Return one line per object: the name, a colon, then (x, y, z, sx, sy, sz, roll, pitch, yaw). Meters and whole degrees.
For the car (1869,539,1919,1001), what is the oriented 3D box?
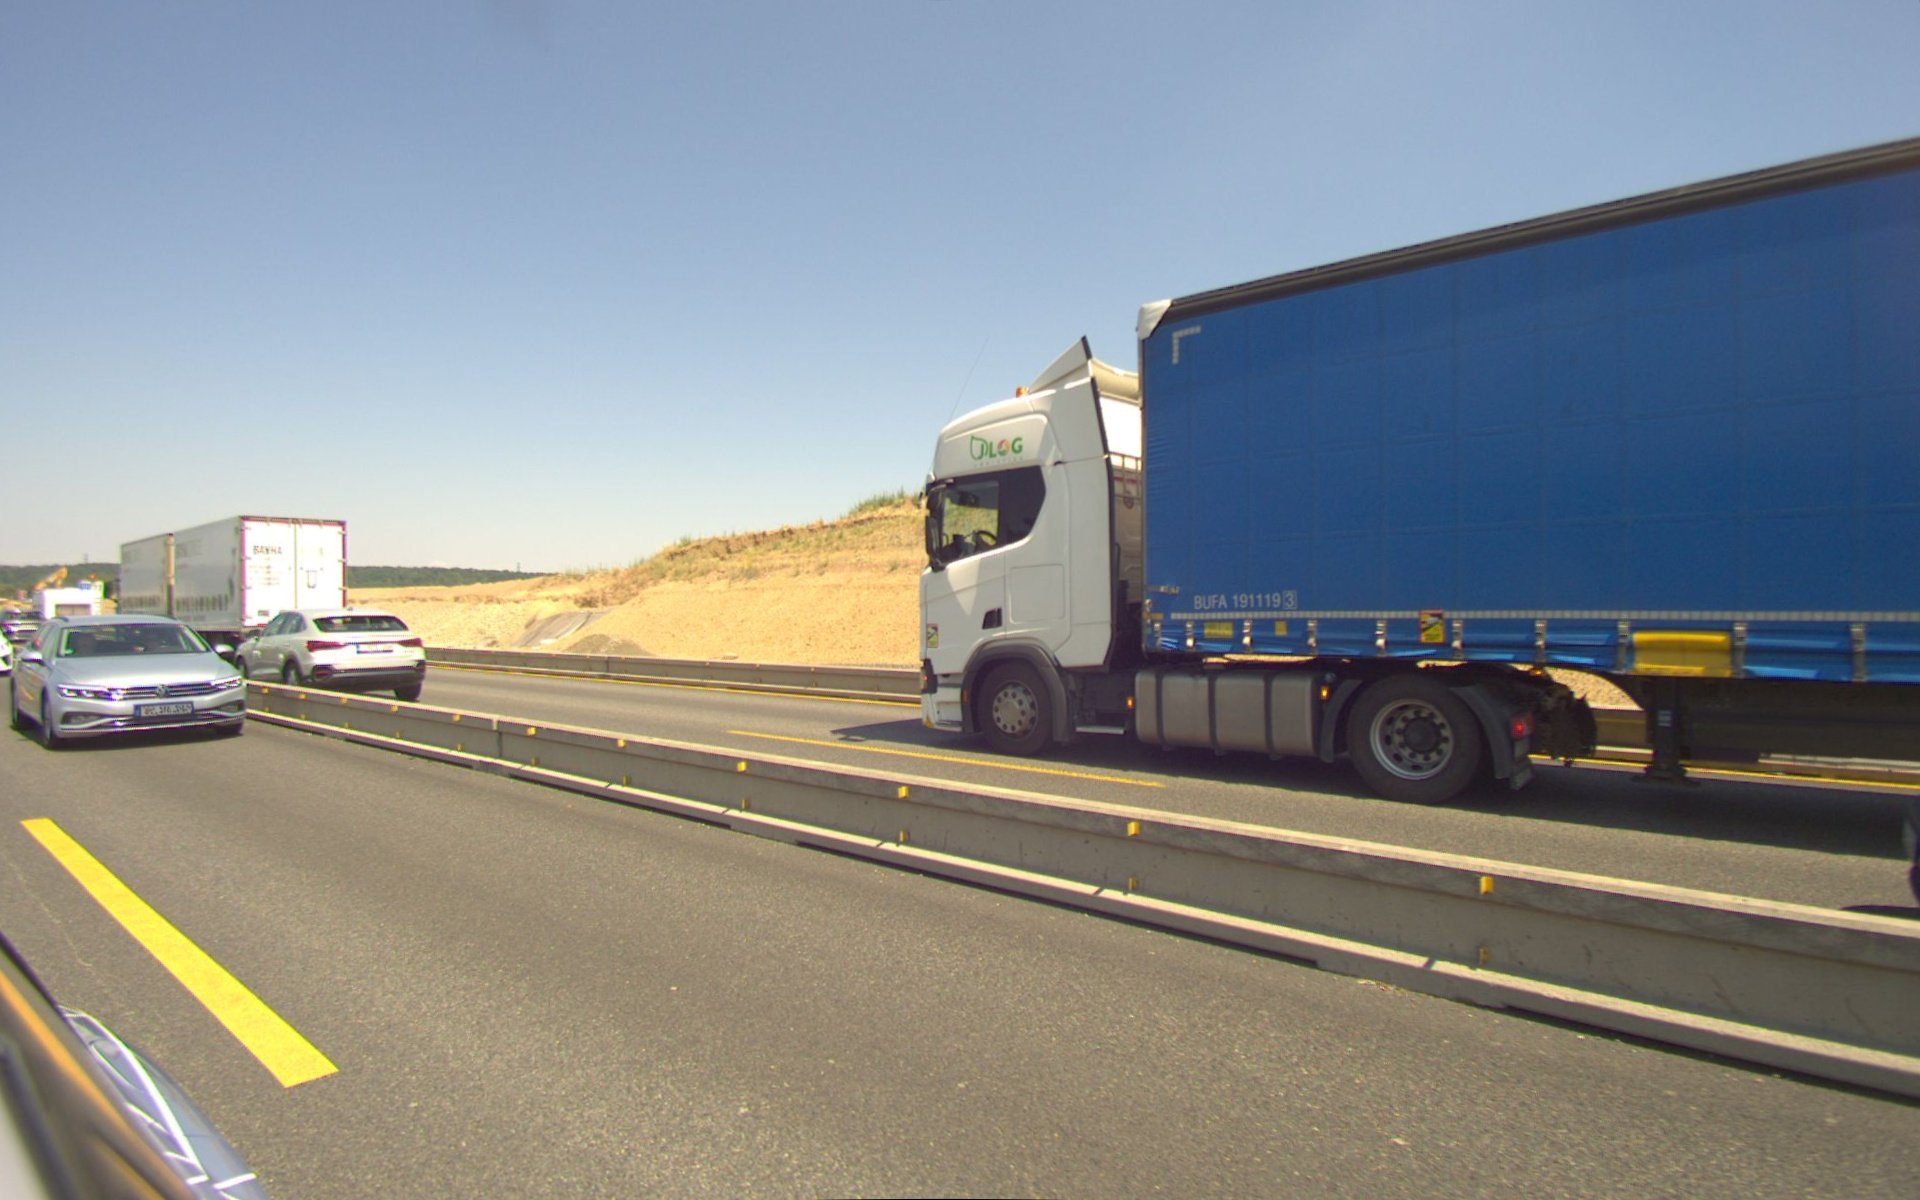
car: (5.376, 0.573, 2.812, 4.136, 1.567, 1.757, -1, -3, 40)

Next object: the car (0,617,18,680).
car: (-24.154, 1.161, 24.328, 4.029, 1.408, 1.851, 0, 1, 42)

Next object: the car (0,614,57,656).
car: (-39.353, 1.420, 42.404, 4.591, 1.625, 1.671, 0, 1, 41)

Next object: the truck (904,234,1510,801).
truck: (2.217, -0.570, 9.946, 5.146, 4.084, 2.565, -1, 0, 40)

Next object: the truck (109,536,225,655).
truck: (-30.415, -0.091, 38.731, 5.910, 4.230, 2.464, -1, -2, 42)

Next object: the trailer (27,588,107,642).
trailer: (-48.171, 0.823, 54.535, 6.752, 2.707, 2.287, -1, -2, 41)

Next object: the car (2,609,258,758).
car: (-10.357, 0.905, 12.530, 4.098, 1.519, 1.781, -1, 0, 41)

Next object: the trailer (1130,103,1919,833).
trailer: (7.609, -0.754, 5.147, 13.989, 3.968, 2.625, -1, 0, 41)

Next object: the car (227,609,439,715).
car: (-10.466, 0.918, 16.785, 4.240, 1.499, 1.789, 0, 1, 40)

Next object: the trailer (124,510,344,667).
trailer: (-24.253, -0.192, 33.178, 15.528, 4.211, 2.476, -1, -2, 42)
